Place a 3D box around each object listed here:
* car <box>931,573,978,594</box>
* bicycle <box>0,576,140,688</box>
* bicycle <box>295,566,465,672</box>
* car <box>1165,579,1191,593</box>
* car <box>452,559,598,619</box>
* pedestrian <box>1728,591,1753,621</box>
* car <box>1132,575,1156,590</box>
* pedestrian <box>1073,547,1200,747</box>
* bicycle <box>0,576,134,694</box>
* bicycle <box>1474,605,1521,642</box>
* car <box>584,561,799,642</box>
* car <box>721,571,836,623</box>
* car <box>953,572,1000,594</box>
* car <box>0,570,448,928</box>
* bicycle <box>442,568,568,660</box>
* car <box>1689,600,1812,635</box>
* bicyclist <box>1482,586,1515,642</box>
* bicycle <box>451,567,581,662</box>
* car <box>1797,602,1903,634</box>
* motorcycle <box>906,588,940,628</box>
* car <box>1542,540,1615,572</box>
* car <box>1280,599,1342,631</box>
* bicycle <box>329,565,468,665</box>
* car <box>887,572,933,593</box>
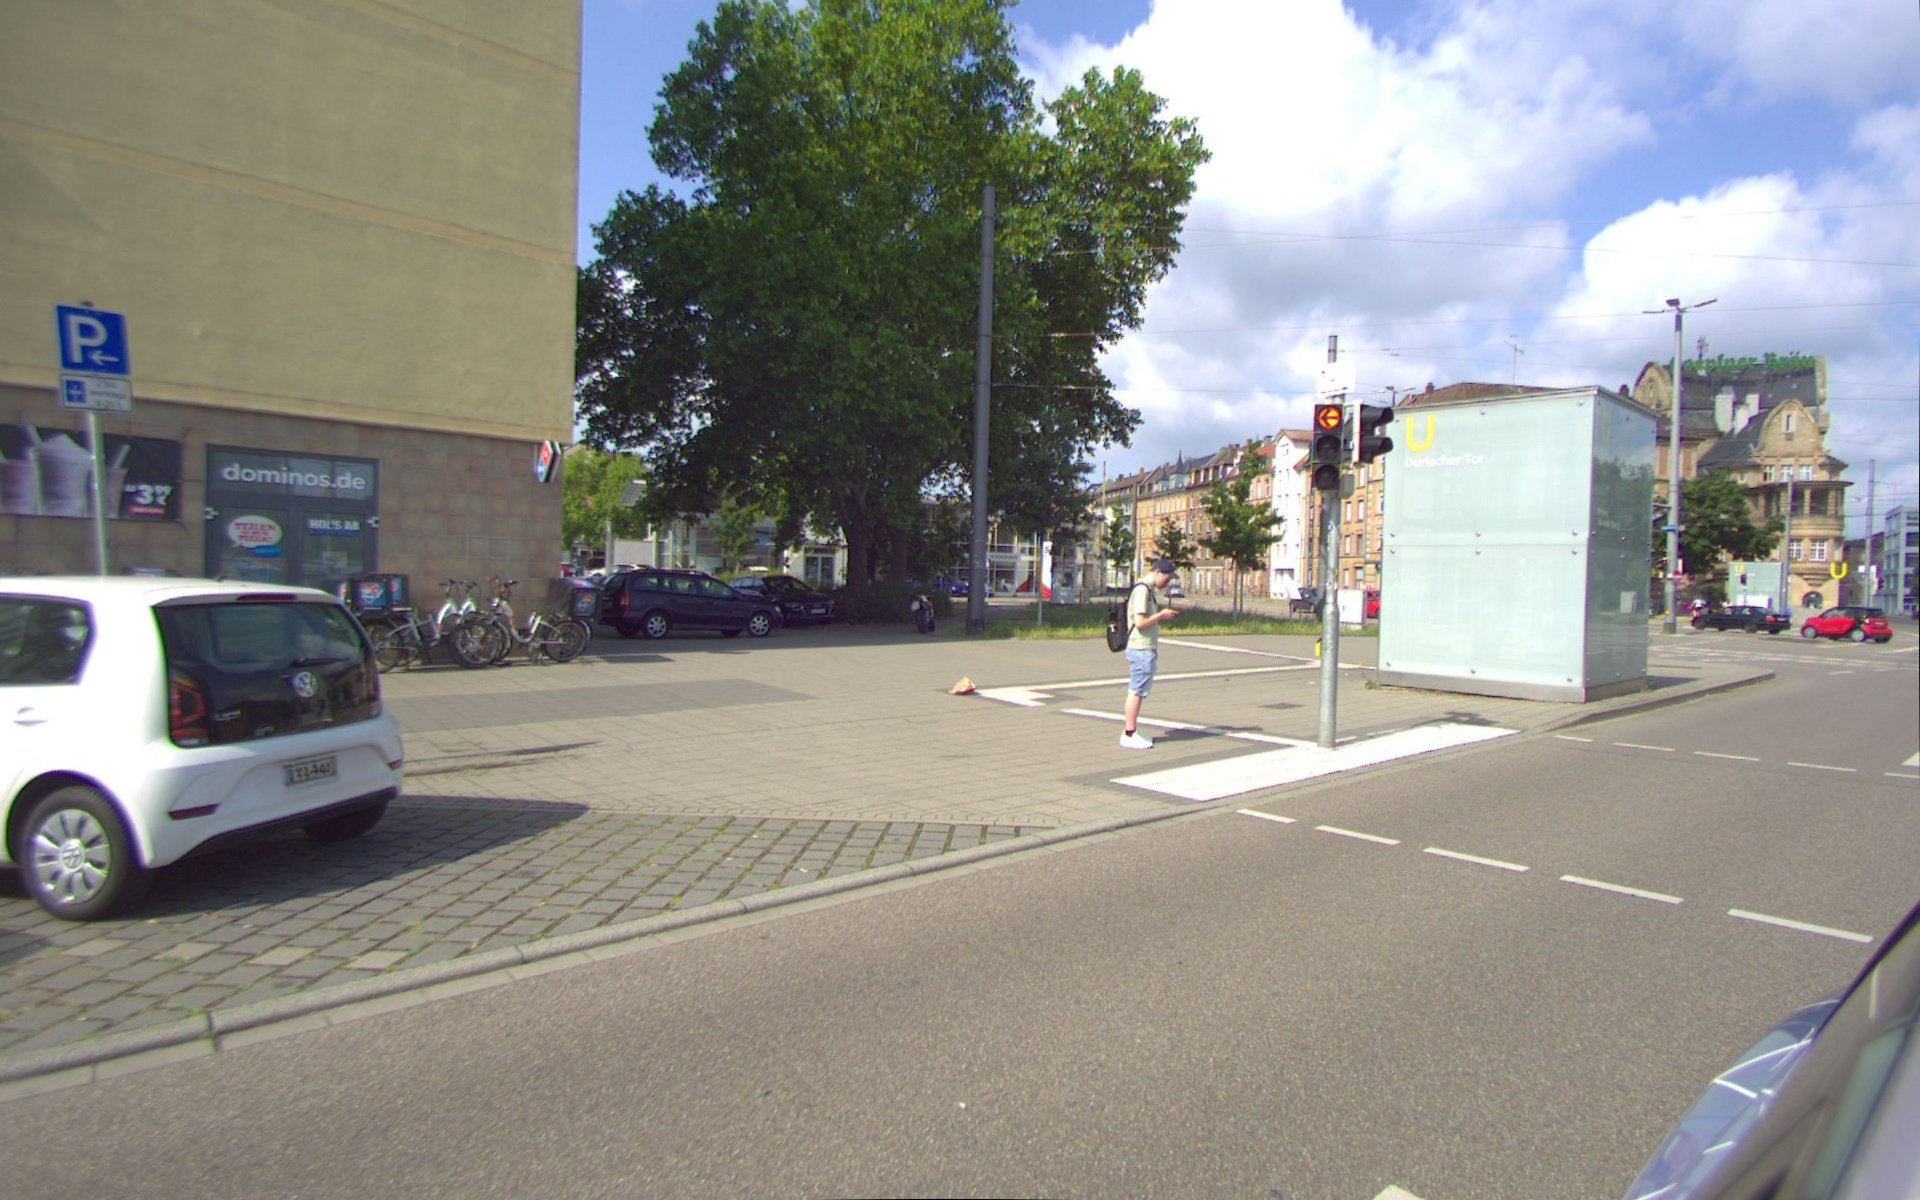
[{"bbox_3d":[-0.446,-1.303,77.257,1.887,1.462,4.006,1,2,-29],"label":"car"},{"bbox_3d":[-10.307,0.345,11.421,1.615,1.216,0.488,0,2,-37],"label":"bicycle"},{"bbox_3d":[-7.526,0.214,13.205,0.486,1.288,1.862,2,2,41],"label":"bicycle"},{"bbox_3d":[23.055,-1.496,107.192,1.962,1.348,4.000,2,2,1],"label":"car"},{"bbox_3d":[-12.989,-0.356,30.290,3.515,1.548,1.996,-5,3,-41],"label":"car"},{"bbox_3d":[43.912,0.328,56.927,0.780,1.662,0.710,1,1,-7],"label":"pedestrian"},{"bbox_3d":[22.690,-2.226,125.213,1.750,1.727,4.007,1,2,-7],"label":"car"},{"bbox_3d":[1.696,0.409,9.645,0.985,1.781,0.780,-1,3,25],"label":"pedestrian"},{"bbox_3d":[-10.004,0.364,10.947,1.615,1.216,0.549,0,2,-37],"label":"bicycle"},{"bbox_3d":[17.834,0.764,33.544,1.959,1.141,0.787,0,2,-44],"label":"bicycle"},{"bbox_3d":[-6.067,-0.030,23.173,4.319,1.604,1.996,-3,2,-42],"label":"car"},{"bbox_3d":[-5.639,-0.130,31.100,1.764,1.437,3.998,1,2,-38],"label":"car"},{"bbox_3d":[1.264,-1.352,79.779,1.887,1.571,4.005,1,2,-30],"label":"car"},{"bbox_3d":[-4.770,0.597,5.235,3.454,1.458,1.715,0,1,9],"label":"car"},{"bbox_3d":[-6.645,0.187,14.815,1.615,1.288,0.488,0,2,-37],"label":"bicycle"},{"bbox_3d":[40.150,0.849,51.542,1.958,1.415,4.520,-2,3,-22],"label":"car"},{"bbox_3d":[17.852,0.457,33.562,0.815,1.766,0.710,-1,4,-45],"label":"bicyclist"},{"bbox_3d":[-6.302,0.189,14.399,1.615,1.288,0.531,0,2,-37],"label":"bicycle"},{"bbox_3d":[38.195,0.733,43.501,1.576,1.229,3.017,-2,1,-17],"label":"car"},{"bbox_3d":[-0.945,0.200,26.265,0.595,0.913,1.893,-1,3,6],"label":"motorcycle"},{"bbox_3d":[43.741,-3.080,71.605,1.967,2.038,3.993,-5,3,-41],"label":"car"},{"bbox_3d":[21.244,0.863,61.417,1.960,1.570,4.006,-4,3,-5],"label":"car"},{"bbox_3d":[-7.652,0.191,13.827,1.615,1.288,0.488,0,2,-37],"label":"bicycle"},{"bbox_3d":[-3.799,-1.361,76.125,1.887,1.462,4.006,1,2,-29],"label":"car"}]
